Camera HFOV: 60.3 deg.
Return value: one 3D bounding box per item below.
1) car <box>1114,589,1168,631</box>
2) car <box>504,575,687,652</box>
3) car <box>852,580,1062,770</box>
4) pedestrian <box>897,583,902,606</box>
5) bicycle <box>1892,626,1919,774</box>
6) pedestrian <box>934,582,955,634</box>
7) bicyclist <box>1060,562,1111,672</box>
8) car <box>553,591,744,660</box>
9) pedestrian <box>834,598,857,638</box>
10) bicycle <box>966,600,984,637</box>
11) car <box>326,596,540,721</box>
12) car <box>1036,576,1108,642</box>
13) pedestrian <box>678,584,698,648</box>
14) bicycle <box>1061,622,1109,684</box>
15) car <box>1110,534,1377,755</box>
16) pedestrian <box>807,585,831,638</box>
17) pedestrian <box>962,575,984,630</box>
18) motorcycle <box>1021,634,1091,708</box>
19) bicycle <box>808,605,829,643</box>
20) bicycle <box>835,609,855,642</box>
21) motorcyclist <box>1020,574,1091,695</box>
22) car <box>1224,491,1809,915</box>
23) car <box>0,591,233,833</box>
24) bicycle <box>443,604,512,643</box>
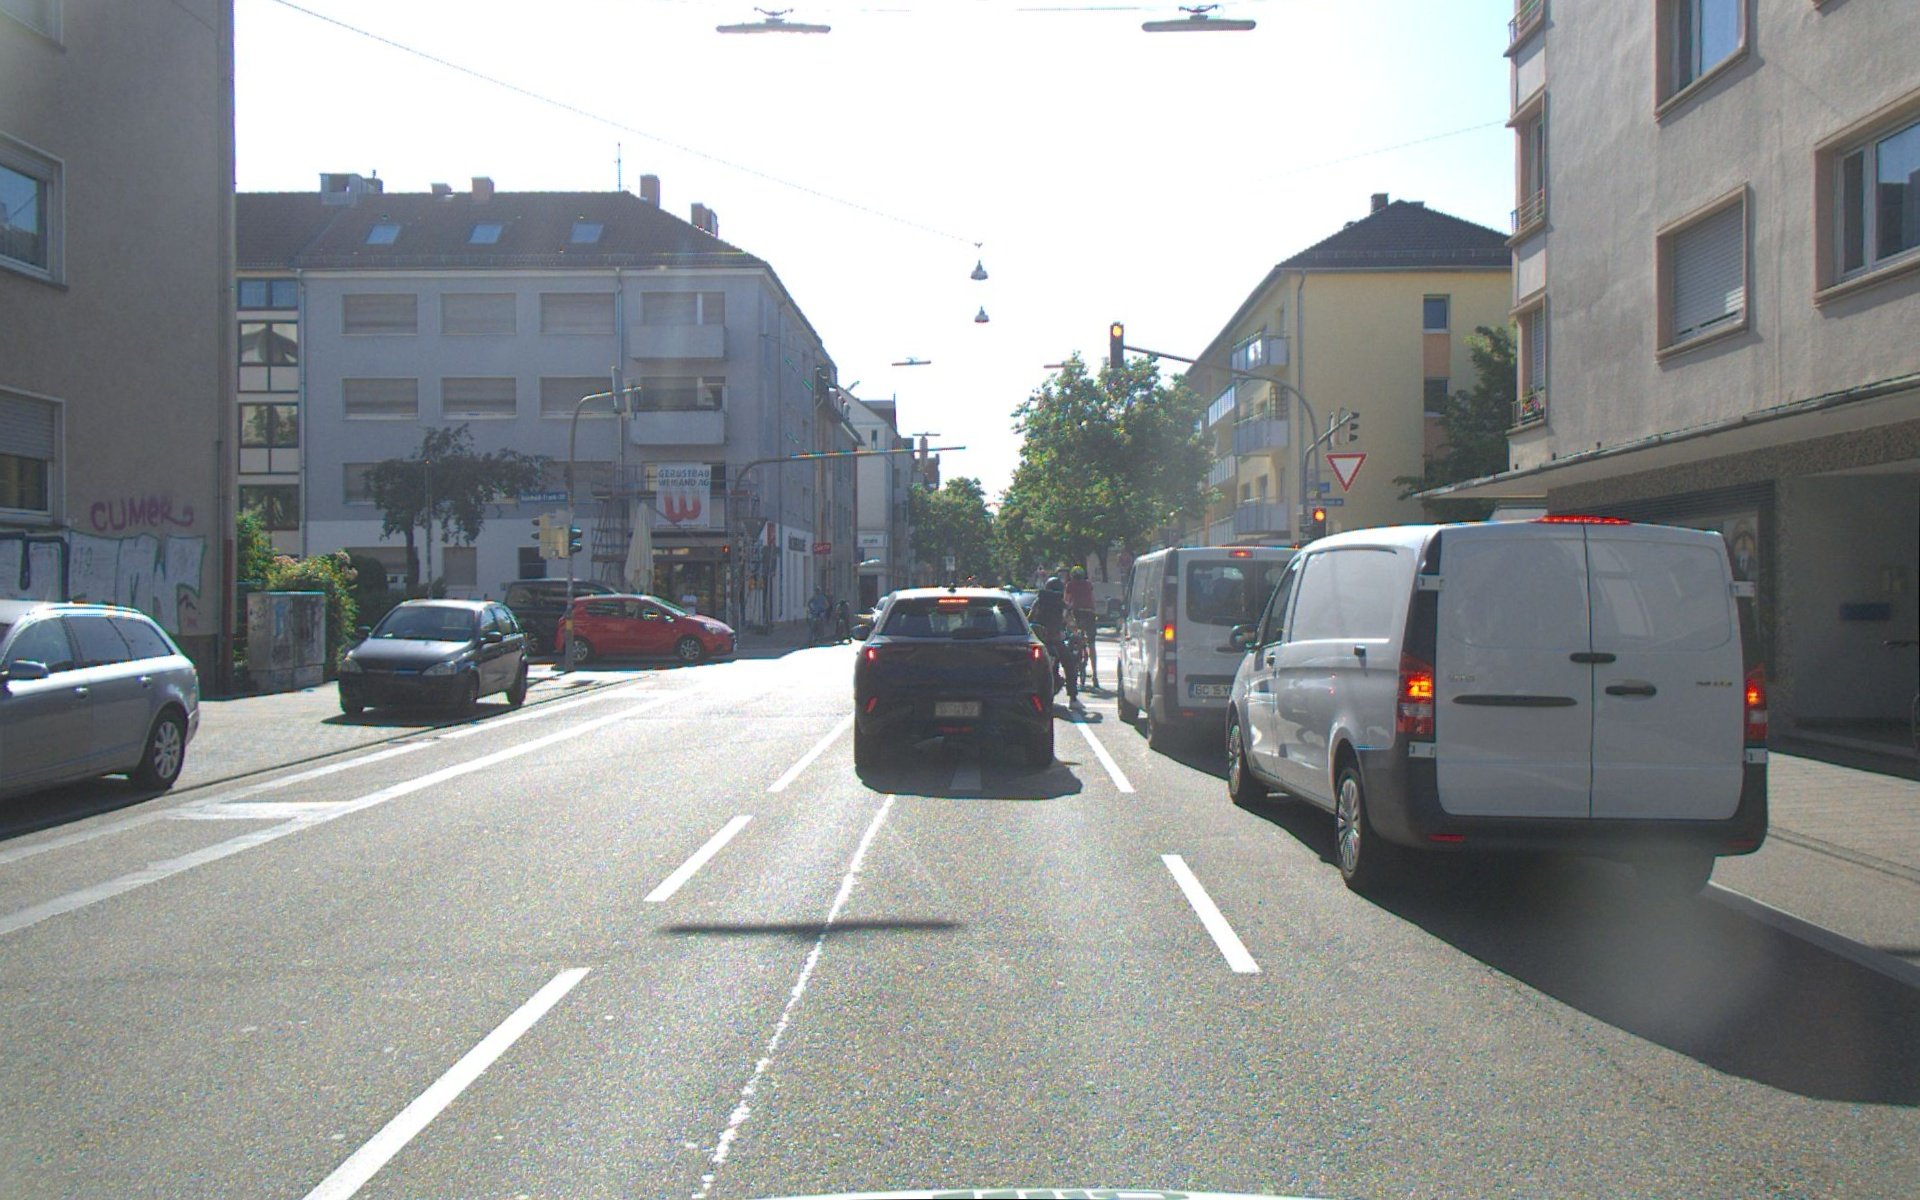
[{"bbox_3d":[6.680,0.343,61.239,1.600,1.458,4.001,-1,0,1],"label":"car"},{"bbox_3d":[-8.734,0.316,39.911,3.977,1.758,1.908,-1,0,-1],"label":"car"},{"bbox_3d":[-0.052,0.610,15.743,1.734,1.557,3.999,0,0,-1],"label":"car"},{"bbox_3d":[-4.632,-0.435,126.461,0.393,1.704,0.418,-1,0,1],"label":"pedestrian"},{"bbox_3d":[7.711,0.794,12.684,0.392,1.155,1.728,0,0,9],"label":"bicycle"},{"bbox_3d":[-0.496,0.245,53.020,0.666,1.634,0.762,0,0,-1],"label":"pedestrian"},{"bbox_3d":[2.027,0.266,26.859,0.675,1.742,1.413,0,0,-1],"label":"bicyclist"},{"bbox_3d":[-6.917,0.560,37.021,3.904,1.490,1.831,0,0,1],"label":"car"},{"bbox_3d":[-3.675,0.566,53.174,0.692,1.275,0.802,0,0,-1],"label":"pedestrian"},{"bbox_3d":[0.473,0.589,53.306,0.511,1.167,2.170,0,0,-1],"label":"bicycle"},{"bbox_3d":[-6.863,0.704,21.924,1.583,1.450,3.710,2,0,0],"label":"car"},{"bbox_3d":[3.109,0.233,46.700,1.862,1.758,4.001,0,0,2],"label":"car"},{"bbox_3d":[-7.814,0.454,47.577,0.550,1.806,0.583,0,0,-8],"label":"pedestrian"},{"bbox_3d":[2.023,0.842,26.949,0.565,0.920,2.301,0,0,-1],"label":"bicycle"},{"bbox_3d":[2.825,0.389,17.636,1.953,2.014,4.894,0,0,-1],"label":"car"},{"bbox_3d":[-4.533,0.366,53.242,0.692,1.707,0.802,0,0,-1],"label":"pedestrian"},{"bbox_3d":[0.413,0.075,53.214,0.692,1.730,0.802,0,0,-1],"label":"pedestrian"},{"bbox_3d":[1.231,0.898,21.513,0.808,0.860,1.885,0,0,0],"label":"motorcycle"},{"bbox_3d":[-4.565,0.751,53.438,0.511,1.167,2.283,0,0,-1],"label":"bicycle"},{"bbox_3d":[-3.718,0.819,53.418,0.511,1.010,2.339,0,0,-1],"label":"bicycle"},{"bbox_3d":[1.231,0.433,21.558,0.846,1.528,1.159,0,0,0],"label":"motorcyclist"},{"bbox_3d":[2.944,0.458,10.057,1.799,1.901,4.996,1,0,-1],"label":"car"},{"bbox_3d":[-7.059,0.729,11.626,1.682,1.491,4.815,2,0,0],"label":"car"},{"bbox_3d":[-15.350,0.737,52.628,2.066,1.193,0.735,-1,0,-23],"label":"bicycle"}]
